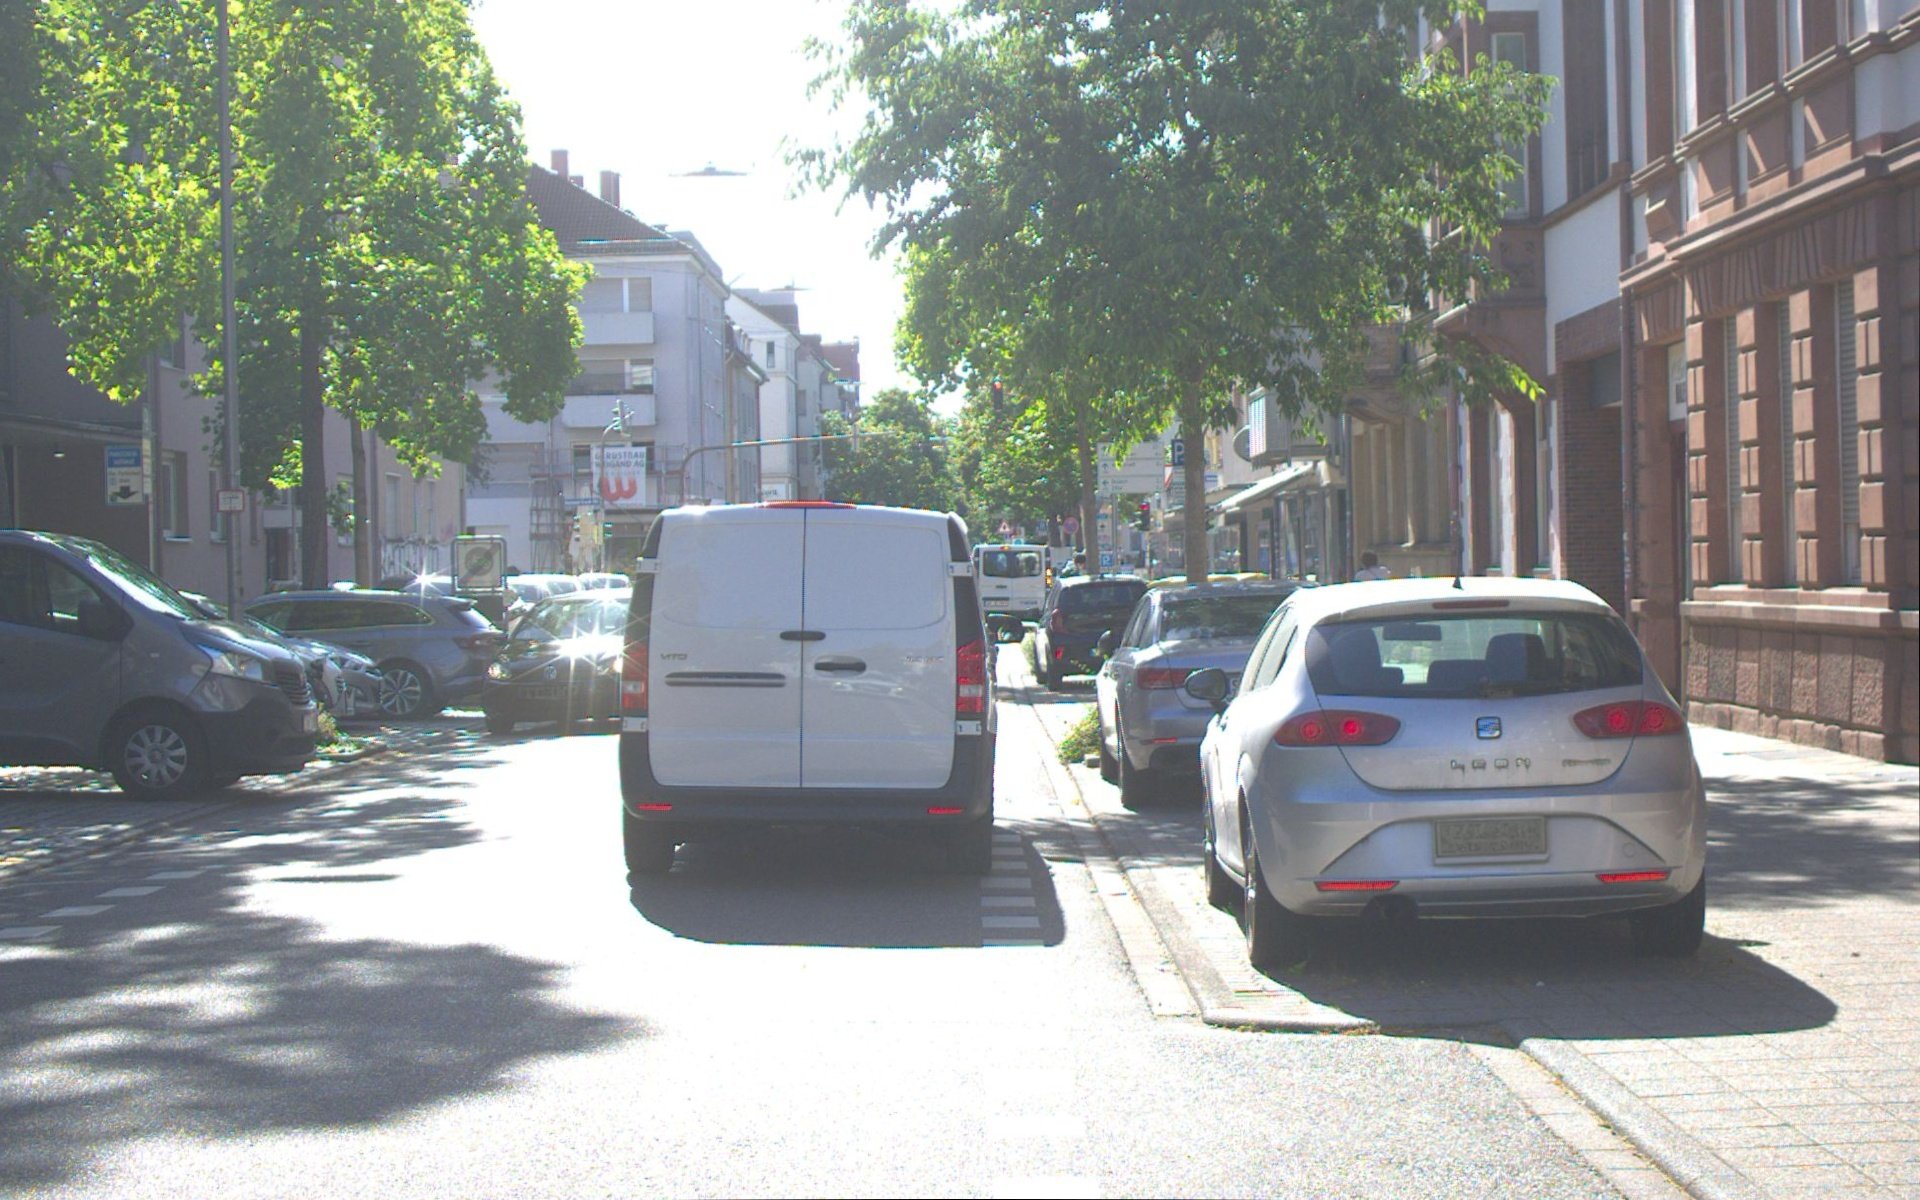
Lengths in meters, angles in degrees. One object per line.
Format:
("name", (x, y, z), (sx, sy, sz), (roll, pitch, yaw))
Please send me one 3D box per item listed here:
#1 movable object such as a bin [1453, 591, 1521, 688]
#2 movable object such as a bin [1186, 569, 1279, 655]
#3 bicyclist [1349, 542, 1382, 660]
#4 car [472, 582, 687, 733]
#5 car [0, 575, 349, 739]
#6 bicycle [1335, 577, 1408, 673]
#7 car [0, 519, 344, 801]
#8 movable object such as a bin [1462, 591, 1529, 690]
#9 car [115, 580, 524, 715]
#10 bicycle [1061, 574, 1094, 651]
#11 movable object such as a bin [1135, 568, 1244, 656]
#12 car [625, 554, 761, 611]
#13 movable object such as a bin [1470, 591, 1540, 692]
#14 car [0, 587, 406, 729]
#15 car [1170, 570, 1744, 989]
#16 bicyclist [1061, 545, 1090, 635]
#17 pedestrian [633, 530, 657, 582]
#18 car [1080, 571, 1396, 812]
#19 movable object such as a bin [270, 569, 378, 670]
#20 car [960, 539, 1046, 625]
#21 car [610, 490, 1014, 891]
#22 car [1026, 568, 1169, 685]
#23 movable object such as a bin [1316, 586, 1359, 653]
("movable object such as a bin", (5.884, 0.437, 38.404), (0.638, 1.065, 0.632), (-1, 1, 0))
("movable object such as a bin", (4.404, 0.189, 55.489), (1.040, 1.343, 1.106), (0, 1, 39))
("bicyclist", (5.083, 0.007, 43.117), (0.361, 1.472, 0.530), (0, 0, 0))
("car", (-3.935, 0.561, 36.116), (1.763, 1.434, 3.960), (-2, 0, 0))
("car", (-7.799, 0.528, 33.466), (3.597, 1.547, 1.685), (0, 0, -12))
("bicycle", (5.156, 0.309, 43.189), (0.536, 1.145, 2.124), (-4, 0, -1))
("car", (-7.349, 0.398, 25.222), (5.292, 1.967, 2.015), (0, 1, 0))
("movable object such as a bin", (5.889, 0.444, 37.817), (0.638, 1.065, 0.521), (-1, 1, 0))
("car", (-7.288, 0.523, 39.375), (4.305, 1.455, 1.762), (1, 1, 2))
("bicycle", (1.979, 0.208, 57.972), (0.475, 1.270, 1.218), (-1, 1, -1))
("movable object such as a bin", (3.625, 0.188, 54.324), (1.268, 1.343, 1.108), (-2, 1, -42))
("car", (-7.956, -0.518, 102.666), (3.986, 1.634, 2.000), (-1, 1, -3))
("movable object such as a bin", (5.901, 0.448, 37.248), (0.638, 1.065, 0.639), (-1, 1, 0))
("car", (-8.023, 0.595, 36.687), (3.986, 1.458, 1.813), (0, 1, -3))
("car", (1.898, 0.625, 14.282), (1.738, 1.446, 4.000), (-1, 1, -1))
("bicyclist", (1.952, -0.169, 58.152), (0.439, 1.503, 0.497), (-1, 1, 0))
("pedestrian", (-10.139, -1.417, 110.641), (0.683, 1.658, 0.601), (-1, 1, -1))
("car", (1.807, 0.553, 23.544), (1.738, 1.446, 4.308), (-1, 1, -1))
("movable object such as a bin", (-9.276, 0.278, 50.184), (1.231, 1.445, 1.075), (-1, 0, 10))
("car", (0.971, -0.440, 80.373), (1.815, 1.914, 4.644), (-1, 1, -1))
("car", (-0.926, 0.391, 18.845), (1.920, 1.907, 4.889), (0, 1, -5))
("car", (1.819, 0.331, 46.390), (1.635, 1.471, 3.580), (-2, 1, -2))
("movable object such as a bin", (5.965, 0.300, 54.298), (0.598, 1.039, 0.546), (-1, 1, -1))
